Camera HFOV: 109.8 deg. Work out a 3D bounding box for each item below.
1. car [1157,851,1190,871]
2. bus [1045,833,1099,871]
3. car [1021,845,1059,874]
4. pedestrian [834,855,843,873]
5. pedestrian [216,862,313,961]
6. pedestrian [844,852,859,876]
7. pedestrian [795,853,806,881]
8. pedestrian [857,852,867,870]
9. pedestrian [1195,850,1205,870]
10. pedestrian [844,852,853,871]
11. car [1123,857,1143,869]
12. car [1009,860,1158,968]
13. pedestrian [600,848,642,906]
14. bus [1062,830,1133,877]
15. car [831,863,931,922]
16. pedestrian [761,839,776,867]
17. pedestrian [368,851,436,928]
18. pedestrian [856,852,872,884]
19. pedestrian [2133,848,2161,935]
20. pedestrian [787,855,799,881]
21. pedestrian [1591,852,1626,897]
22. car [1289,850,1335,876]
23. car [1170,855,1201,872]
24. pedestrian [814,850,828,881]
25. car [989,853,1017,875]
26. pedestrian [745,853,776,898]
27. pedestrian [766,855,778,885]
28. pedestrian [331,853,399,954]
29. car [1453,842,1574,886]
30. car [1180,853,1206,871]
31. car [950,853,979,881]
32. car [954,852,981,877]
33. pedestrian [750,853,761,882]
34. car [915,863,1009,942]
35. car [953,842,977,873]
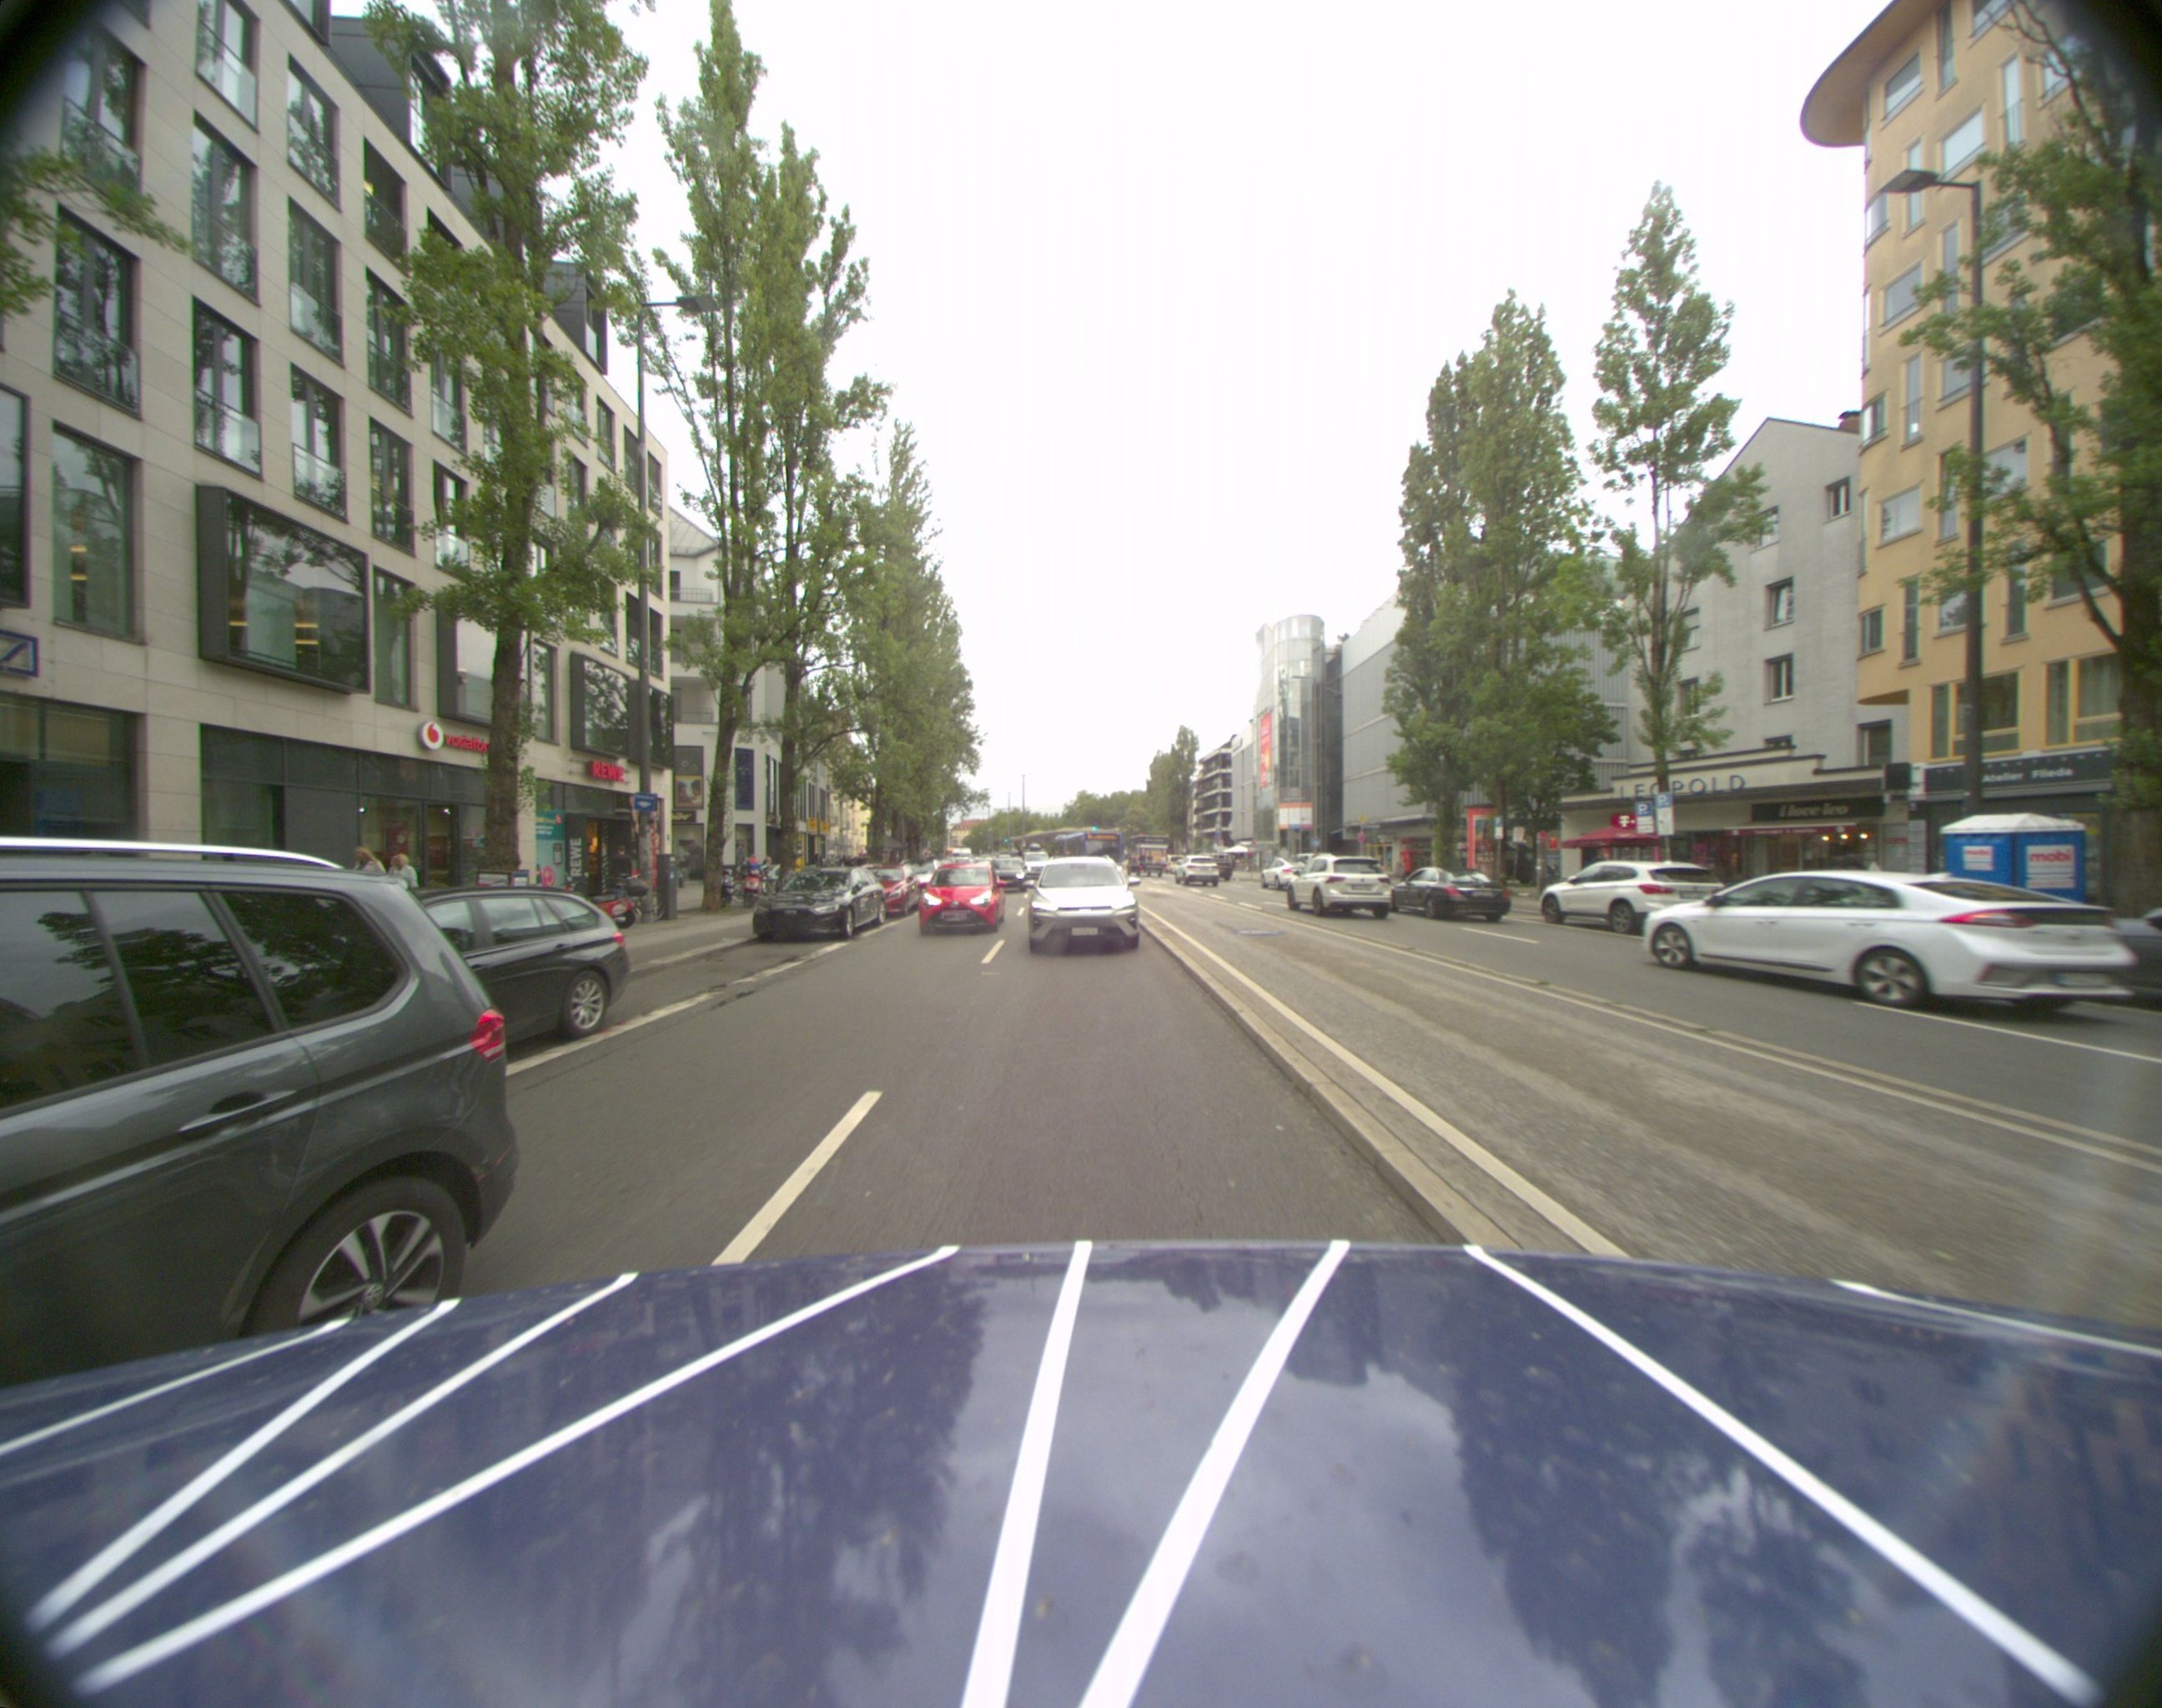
[{"bbox_3d":[9.516,0.702,78.458,2.000,2.002,5.317,1,0,-8],"label":"car"},{"bbox_3d":[-0.945,-0.242,64.909,2.944,2.927,11.202,-1,1,-9],"label":"bus"},{"bbox_3d":[-2.879,0.342,52.273,2.000,1.889,4.231,-2,1,-11],"label":"car"},{"bbox_3d":[-21.232,0.880,66.517,0.693,1.576,0.772,0,1,-11],"label":"pedestrian"},{"bbox_3d":[-13.825,0.944,12.895,0.738,1.611,0.837,0,1,-4],"label":"pedestrian"},{"bbox_3d":[-15.699,0.698,52.053,0.802,1.627,1.023,0,0,-8],"label":"pedestrian"},{"bbox_3d":[-16.788,0.773,45.489,0.492,1.625,0.569,0,1,-7],"label":"pedestrian"},{"bbox_3d":[-19.236,0.590,66.744,0.684,1.549,0.749,0,1,-9],"label":"pedestrian"},{"bbox_3d":[11.501,0.568,73.306,0.788,1.856,0.846,0,1,-3],"label":"pedestrian"},{"bbox_3d":[-20.207,0.650,66.054,0.693,1.639,0.797,0,1,-11],"label":"pedestrian"},{"bbox_3d":[6.963,1.207,102.810,1.592,1.602,4.472,0,0,-12],"label":"car"},{"bbox_3d":[-0.127,0.914,13.471,1.898,1.483,3.995,-2,1,-10],"label":"car"},{"bbox_3d":[-14.953,0.736,24.708,0.819,1.858,0.938,1,1,-2],"label":"pedestrian"},{"bbox_3d":[0.923,-0.103,53.101,2.944,2.927,11.202,-1,1,-9],"label":"bus"},{"bbox_3d":[-5.652,1.023,22.066,1.936,1.441,4.802,0,0,-4],"label":"car"},{"bbox_3d":[-18.045,-0.047,43.901,0.548,1.615,0.508,-1,2,16],"label":"pedestrian"},{"bbox_3d":[-14.522,0.737,16.263,0.796,1.611,0.717,0,1,-4],"label":"pedestrian"},{"bbox_3d":[-11.718,0.748,41.112,0.716,1.666,0.783,1,1,-7],"label":"pedestrian"},{"bbox_3d":[20.794,0.704,14.327,0.842,1.616,0.763,-2,2,0],"label":"pedestrian"},{"bbox_3d":[-17.954,0.872,47.335,0.566,1.567,0.675,0,1,-34],"label":"pedestrian"},{"bbox_3d":[22.281,0.866,32.102,0.860,1.888,0.832,0,1,-8],"label":"pedestrian"},{"bbox_3d":[18.256,0.680,60.235,1.999,2.002,5.111,0,0,-2],"label":"car"},{"bbox_3d":[9.963,0.920,72.932,1.983,1.543,5.084,0,0,-3],"label":"car"},{"bbox_3d":[-16.051,0.707,46.905,0.648,1.913,0.925,1,1,-7],"label":"pedestrian"},{"bbox_3d":[-6.791,0.868,66.018,2.000,1.740,3.995,-2,1,-11],"label":"car"},{"bbox_3d":[-11.583,0.771,27.470,0.792,1.610,0.613,1,1,15],"label":"pedestrian"},{"bbox_3d":[-16.354,0.855,40.210,0.492,1.558,0.569,0,1,-7],"label":"pedestrian"},{"bbox_3d":[-12.904,0.859,13.694,0.794,1.762,0.683,1,1,30],"label":"pedestrian"},{"bbox_3d":[26.022,0.604,45.893,6.059,2.590,2.177,0,1,1],"label":"car"},{"bbox_3d":[9.815,0.649,66.996,1.861,1.461,4.983,2,0,4],"label":"car"},{"bbox_3d":[-7.663,0.812,50.174,1.732,1.676,4.405,-1,0,-7],"label":"car"},{"bbox_3d":[-8.981,0.787,60.441,1.935,1.794,4.776,-2,1,-7],"label":"car"},{"bbox_3d":[-18.368,0.742,42.870,0.550,1.615,0.506,-2,2,-23],"label":"pedestrian"},{"bbox_3d":[-2.557,0.990,17.022,1.670,1.438,3.594,-2,1,-3],"label":"car"},{"bbox_3d":[-10.638,0.274,69.529,2.000,2.726,5.549,-2,1,-9],"label":"car"}]
